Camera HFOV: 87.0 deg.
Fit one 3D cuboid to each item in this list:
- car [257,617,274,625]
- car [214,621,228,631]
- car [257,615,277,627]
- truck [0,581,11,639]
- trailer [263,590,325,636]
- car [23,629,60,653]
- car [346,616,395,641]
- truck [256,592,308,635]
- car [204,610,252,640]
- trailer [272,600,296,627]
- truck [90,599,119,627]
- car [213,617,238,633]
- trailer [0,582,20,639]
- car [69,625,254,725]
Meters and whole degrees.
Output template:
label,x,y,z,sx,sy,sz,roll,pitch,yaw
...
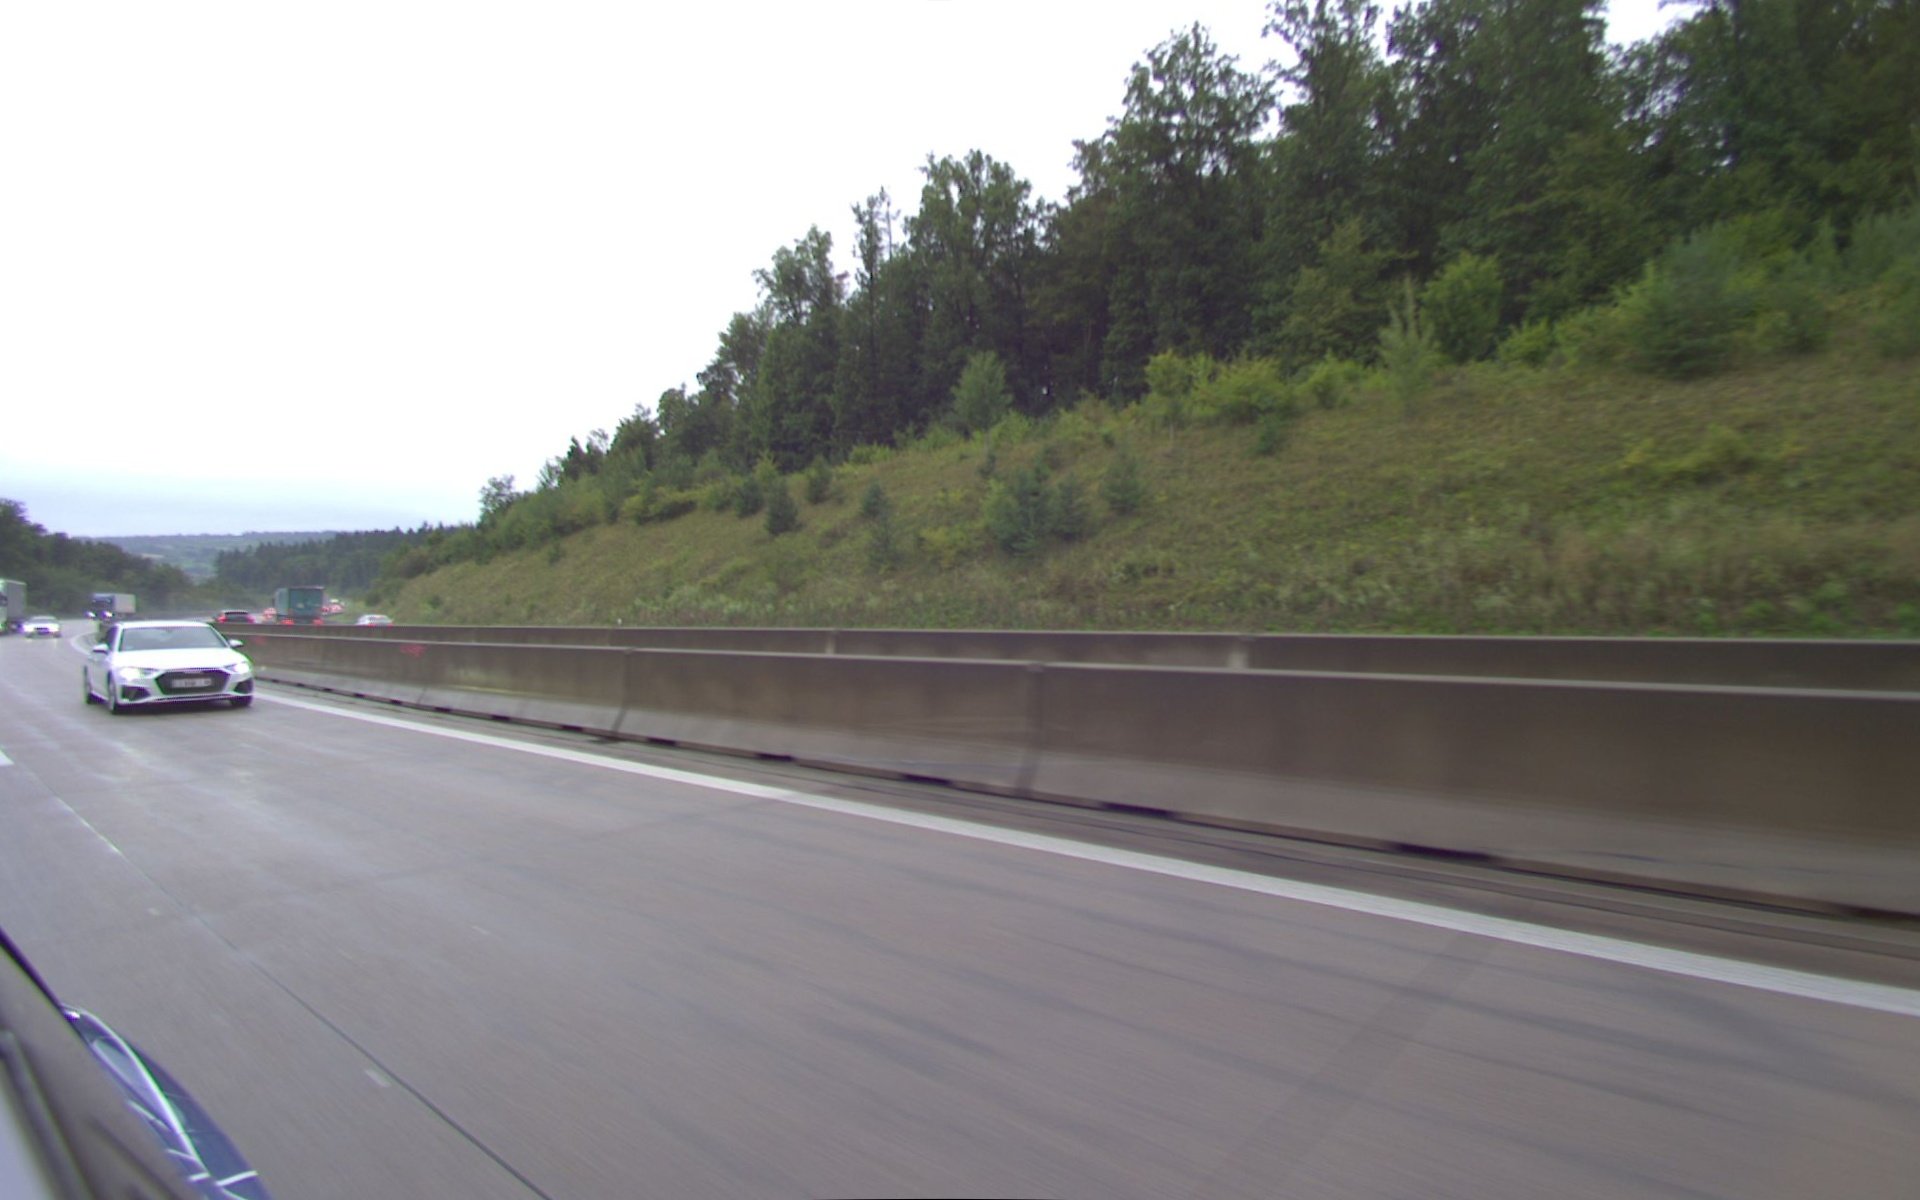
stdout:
label,x,y,z,sx,sy,sz,roll,pitch,yaw
car,-143.520,4.416,209.200,1.965,1.597,4.788,0,-1,-24
car,-116.414,4.051,159.367,1.708,1.504,4.010,1,-1,-35
car,-87.156,2.675,127.288,1.709,1.504,4.006,1,-1,-41
truck,-70.130,0.813,72.444,2.687,4.071,5.762,-2,0,-40
trailer,-59.792,1.174,90.704,2.872,3.918,11.047,0,-1,-43
car,-62.545,2.751,68.890,1.823,1.494,4.453,0,-1,-43
car,-37.917,1.809,65.009,1.711,1.588,4.246,1,-1,-45
truck,-63.405,1.262,94.611,2.872,3.918,7.371,0,-1,-43
car,-45.267,1.553,62.560,1.711,1.790,4.761,1,-1,-45
trailer,-104.347,2.055,156.175,2.887,3.990,13.499,0,-1,-34
truck,-133.877,2.029,158.405,2.694,4.183,8.642,0,-1,-35
car,-83.912,2.791,115.608,1.710,1.790,4.764,1,-1,-42
trailer,-74.788,0.919,77.998,2.646,4.071,13.727,-2,0,-40
car,-13.526,1.156,17.019,4.935,1.418,1.694,-1,-1,43
